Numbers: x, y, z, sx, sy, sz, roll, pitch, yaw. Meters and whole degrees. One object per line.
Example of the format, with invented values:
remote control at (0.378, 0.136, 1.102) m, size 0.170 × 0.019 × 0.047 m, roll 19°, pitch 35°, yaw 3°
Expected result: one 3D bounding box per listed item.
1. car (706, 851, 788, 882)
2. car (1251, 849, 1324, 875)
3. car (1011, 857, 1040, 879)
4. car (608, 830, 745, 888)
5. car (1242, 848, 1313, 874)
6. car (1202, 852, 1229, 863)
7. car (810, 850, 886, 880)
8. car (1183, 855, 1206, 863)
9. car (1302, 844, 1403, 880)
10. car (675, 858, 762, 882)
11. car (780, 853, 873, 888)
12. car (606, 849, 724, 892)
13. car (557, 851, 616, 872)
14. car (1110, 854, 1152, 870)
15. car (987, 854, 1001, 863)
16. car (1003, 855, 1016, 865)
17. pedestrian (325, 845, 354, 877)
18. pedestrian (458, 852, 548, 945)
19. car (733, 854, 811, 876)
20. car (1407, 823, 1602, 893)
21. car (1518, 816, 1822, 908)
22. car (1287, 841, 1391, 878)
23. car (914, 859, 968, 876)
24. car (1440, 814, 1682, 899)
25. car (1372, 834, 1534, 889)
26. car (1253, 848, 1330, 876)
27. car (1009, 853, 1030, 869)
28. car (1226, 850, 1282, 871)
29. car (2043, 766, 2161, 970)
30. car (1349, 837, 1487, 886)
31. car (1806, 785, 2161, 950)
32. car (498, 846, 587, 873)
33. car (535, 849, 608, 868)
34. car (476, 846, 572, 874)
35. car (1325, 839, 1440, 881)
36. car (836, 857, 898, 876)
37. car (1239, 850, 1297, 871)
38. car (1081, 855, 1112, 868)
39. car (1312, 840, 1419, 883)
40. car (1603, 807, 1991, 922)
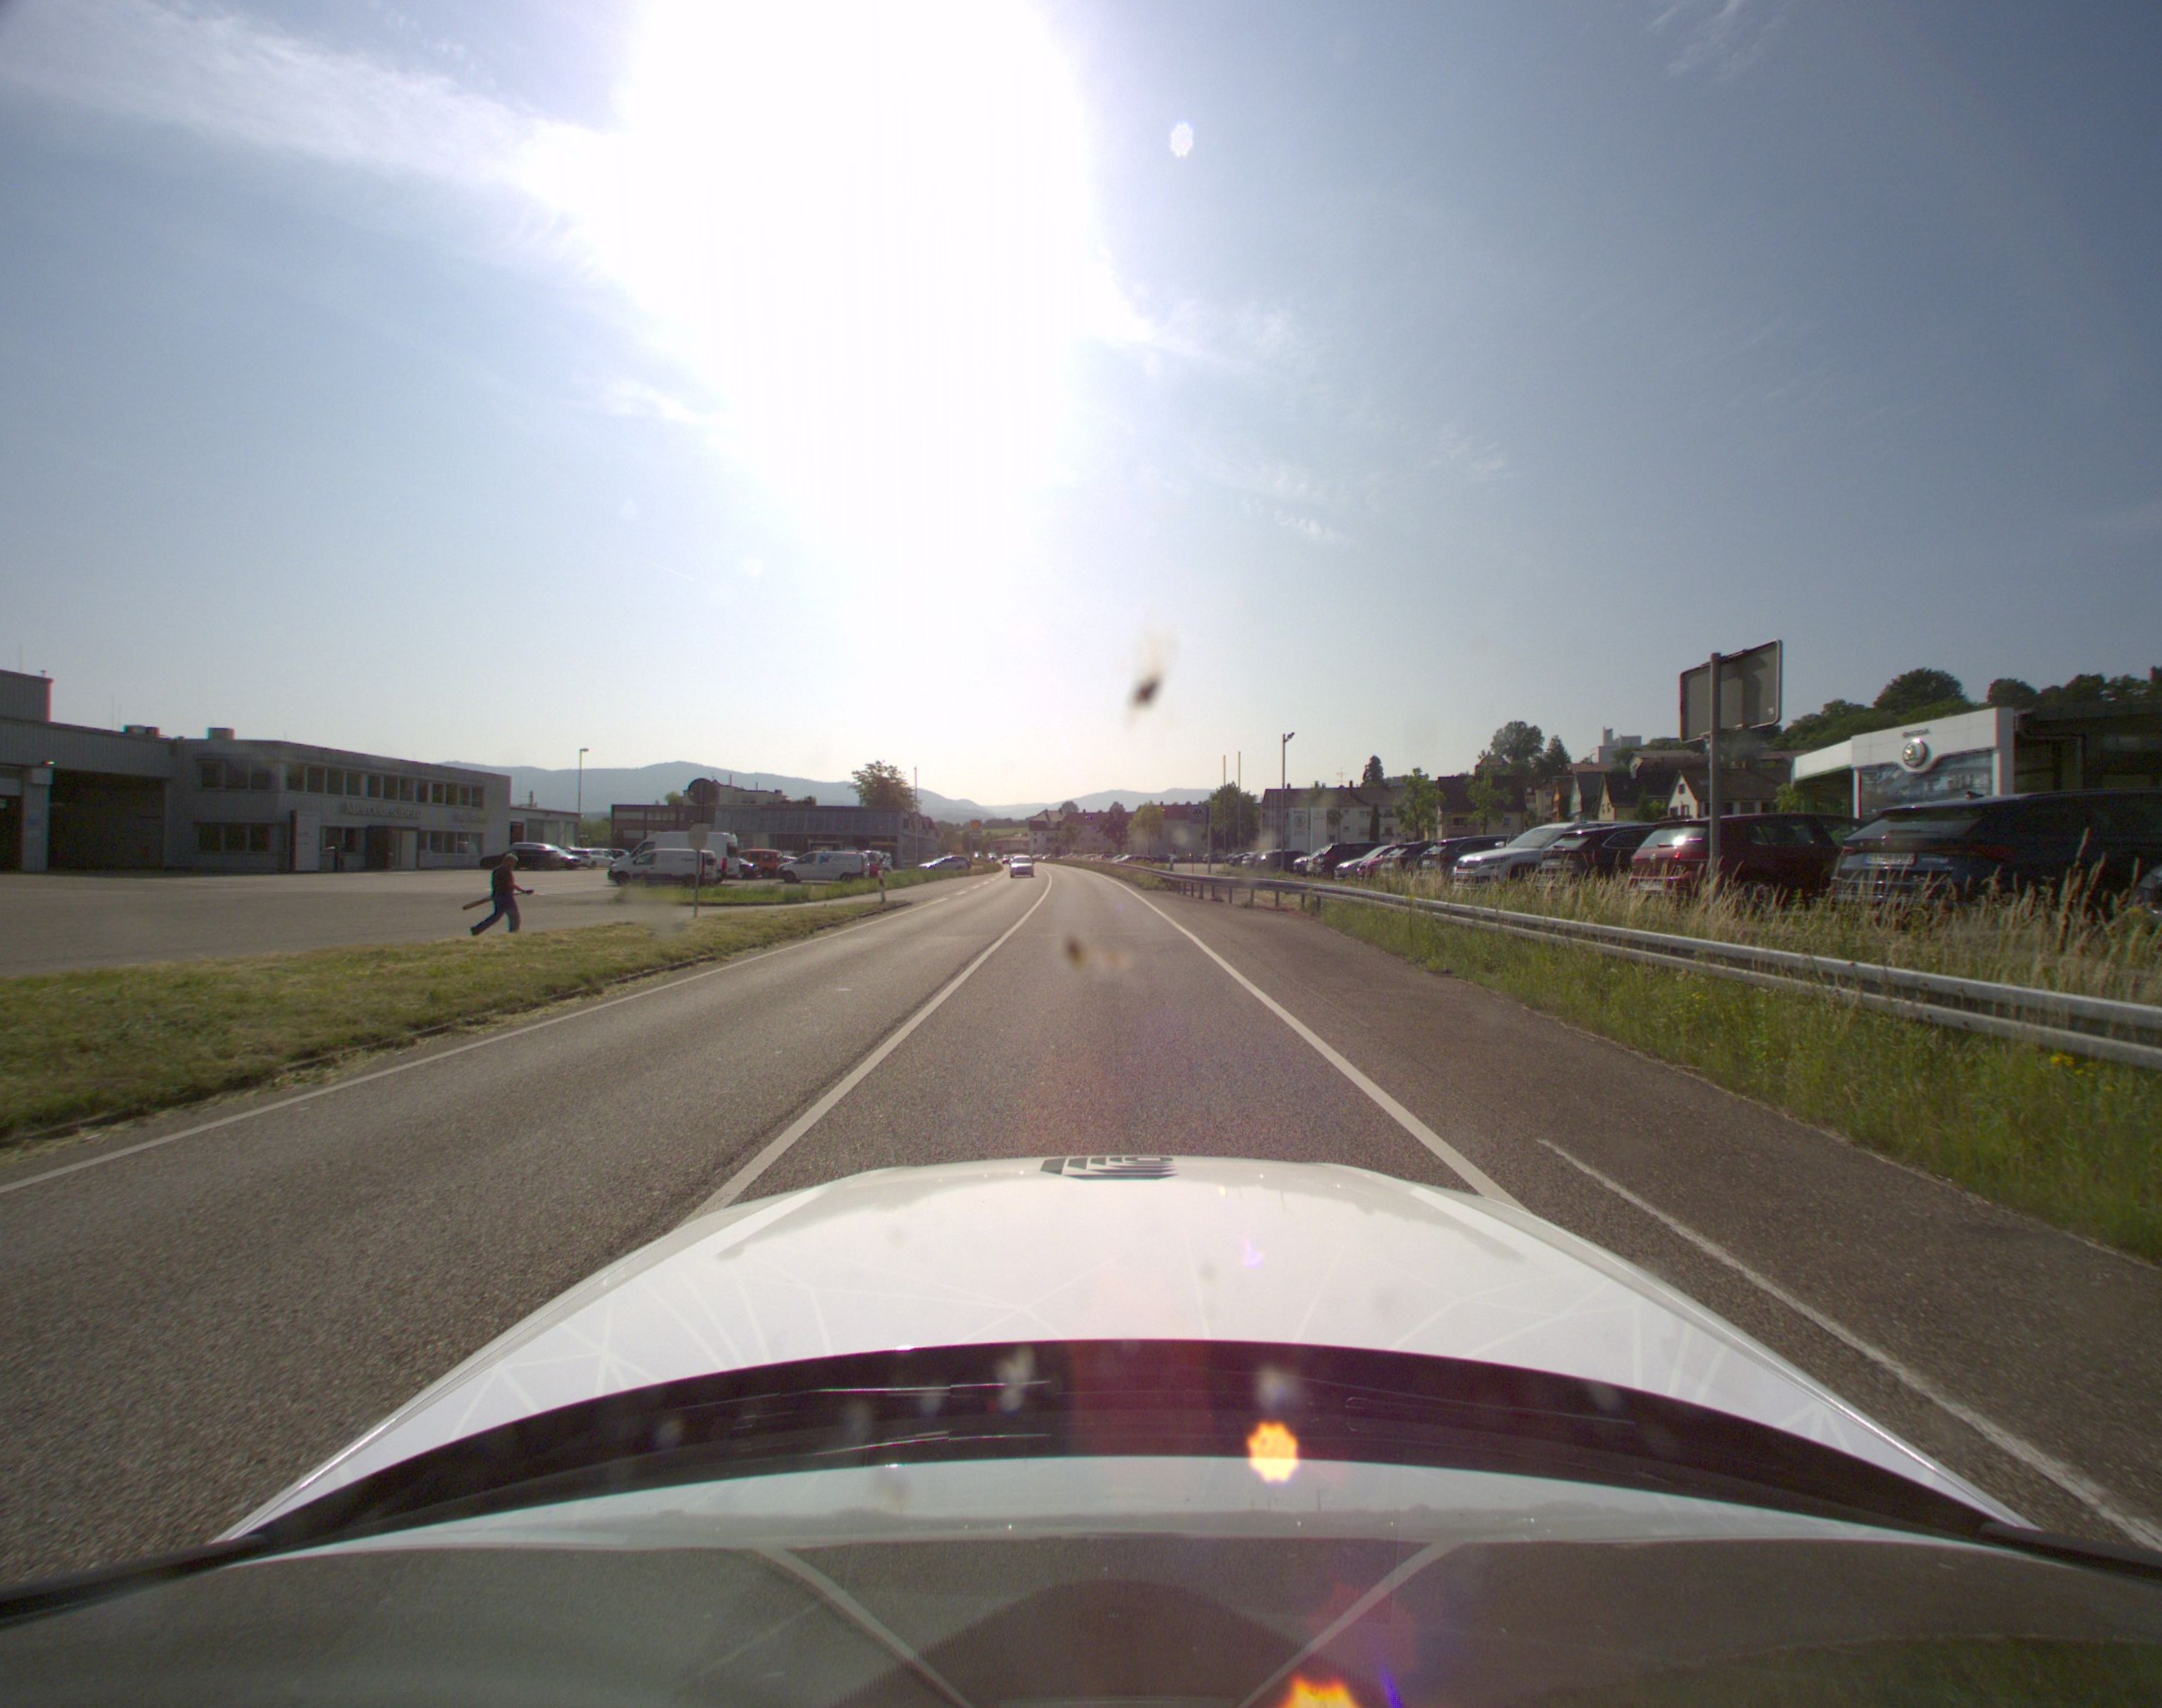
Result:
car at (-21.302, 0.768, 52.128) m, size 4.372 × 1.808 × 1.998 m, roll 2°, pitch 0°, yaw -5°
car at (12.469, 0.473, 49.391) m, size 3.976 × 1.494 × 1.789 m, roll -1°, pitch -1°, yaw -2°
car at (-3.888, 0.980, 57.880) m, size 1.671 × 1.473 × 3.707 m, roll -2°, pitch 0°, yaw 1°
car at (-20.461, 0.279, 41.453) m, size 5.707 × 2.745 × 2.283 m, roll 1°, pitch -1°, yaw -3°
car at (12.492, 0.448, 51.834) m, size 4.069 × 1.610 × 1.789 m, roll -1°, pitch -1°, yaw -5°
car at (19.284, 0.567, 116.857) m, size 3.780 × 1.521 × 1.640 m, roll -1°, pitch 0°, yaw -33°
car at (-16.428, 0.778, 57.609) m, size 4.783 × 1.981 × 2.225 m, roll 2°, pitch 0°, yaw -5°
car at (17.778, 0.807, 127.457) m, size 1.599 × 1.186 × 3.626 m, roll -1°, pitch -1°, yaw -31°
car at (12.173, 0.348, 36.732) m, size 4.015 × 1.486 × 1.725 m, roll -2°, pitch -1°, yaw 5°
car at (-21.729, 0.940, 48.987) m, size 4.372 × 1.319 × 1.797 m, roll 1°, pitch 0°, yaw -5°
car at (-14.592, 0.930, 46.866) m, size 4.662 × 1.857 × 2.140 m, roll 1°, pitch 0°, yaw -5°
car at (-19.473, 0.760, 38.265) m, size 4.436 × 1.840 × 1.984 m, roll 2°, pitch 0°, yaw -5°
car at (-36.661, 0.598, 60.465) m, size 1.801 × 1.492 × 4.561 m, roll 0°, pitch -1°, yaw -4°
car at (5.211, 0.828, 85.246) m, size 4.153 × 1.490 × 1.728 m, roll -2°, pitch -1°, yaw -6°
car at (-17.641, 0.881, 164.501) m, size 1.798 × 1.630 × 4.200 m, roll -2°, pitch 0°, yaw -19°
car at (-11.122, 0.888, 126.682) m, size 1.751 × 1.474 × 4.273 m, roll -2°, pitch 0°, yaw -9°
pedestrian at (-39.762, 0.389, 43.678) m, size 0.819 × 1.689 × 0.848 m, roll -1°, pitch -1°, yaw -6°
pedestrian at (-11.062, 0.820, 15.608) m, size 0.839 × 1.689 × 1.151 m, roll -1°, pitch -1°, yaw 30°
car at (-20.679, 0.754, 54.621) m, size 4.457 × 1.398 × 1.963 m, roll 1°, pitch 0°, yaw -5°
car at (10.661, 0.111, 20.755) m, size 3.970 × 1.632 × 1.922 m, roll -1°, pitch -1°, yaw 3°
car at (10.272, 0.140, 14.461) m, size 3.972 × 1.452 × 1.951 m, roll -1°, pitch -1°, yaw 1°
car at (12.437, 0.275, 39.424) m, size 4.436 × 1.600 × 1.853 m, roll -2°, pitch -1°, yaw -3°
car at (-12.201, 1.166, 71.180) m, size 4.420 × 1.367 × 1.831 m, roll -1°, pitch 0°, yaw -44°
car at (10.004, 0.049, 17.217) m, size 3.974 × 1.632 × 1.921 m, roll -1°, pitch -1°, yaw 0°
car at (10.519, 0.221, 23.217) m, size 3.822 × 1.458 × 1.747 m, roll -1°, pitch -1°, yaw 3°
car at (12.030, 0.456, 46.633) m, size 3.973 × 1.494 × 1.730 m, roll -1°, pitch -1°, yaw 0°
car at (-6.546, 0.727, 87.275) m, size 1.805 × 1.630 × 4.542 m, roll -2°, pitch 0°, yaw 1°
car at (14.211, 0.539, 66.982) m, size 4.152 × 1.516 × 1.820 m, roll -2°, pitch -1°, yaw -7°
car at (9.675, 0.066, 5.510) m, size 3.972 × 1.452 × 1.951 m, roll -1°, pitch -1°, yaw 1°
car at (11.620, 0.253, 28.279) m, size 4.067 × 1.552 × 1.782 m, roll -2°, pitch -1°, yaw 2°
car at (9.842, 0.109, 8.066) m, size 3.719 × 1.428 × 1.779 m, roll -1°, pitch -1°, yaw 1°
car at (-37.415, 0.352, 56.724) m, size 4.803 × 1.854 × 1.951 m, roll 0°, pitch 1°, yaw -3°
car at (-43.460, 0.406, 69.578) m, size 4.799 × 1.566 × 2.211 m, roll 0°, pitch 1°, yaw 0°
car at (-37.316, 0.378, 54.659) m, size 4.803 × 1.854 × 2.209 m, roll 0°, pitch 1°, yaw -3°
car at (11.274, 0.221, 30.617) m, size 3.717 × 1.459 × 1.665 m, roll -2°, pitch -1°, yaw 2°
car at (-16.545, 0.990, 63.023) m, size 4.254 × 1.403 × 1.874 m, roll 1°, pitch -1°, yaw -44°
car at (14.739, 0.510, 64.275) m, size 4.083 × 1.516 × 1.822 m, roll -1°, pitch -1°, yaw -3°
car at (2.093, 1.030, 110.918) m, size 3.989 × 1.580 × 1.771 m, roll -1°, pitch -1°, yaw -11°
car at (11.800, 0.309, 33.975) m, size 3.859 × 1.663 × 1.843 m, roll -2°, pitch -1°, yaw 6°
car at (9.651, 0.141, 11.234) m, size 3.717 × 1.406 × 1.823 m, roll -1°, pitch -1°, yaw 1°
